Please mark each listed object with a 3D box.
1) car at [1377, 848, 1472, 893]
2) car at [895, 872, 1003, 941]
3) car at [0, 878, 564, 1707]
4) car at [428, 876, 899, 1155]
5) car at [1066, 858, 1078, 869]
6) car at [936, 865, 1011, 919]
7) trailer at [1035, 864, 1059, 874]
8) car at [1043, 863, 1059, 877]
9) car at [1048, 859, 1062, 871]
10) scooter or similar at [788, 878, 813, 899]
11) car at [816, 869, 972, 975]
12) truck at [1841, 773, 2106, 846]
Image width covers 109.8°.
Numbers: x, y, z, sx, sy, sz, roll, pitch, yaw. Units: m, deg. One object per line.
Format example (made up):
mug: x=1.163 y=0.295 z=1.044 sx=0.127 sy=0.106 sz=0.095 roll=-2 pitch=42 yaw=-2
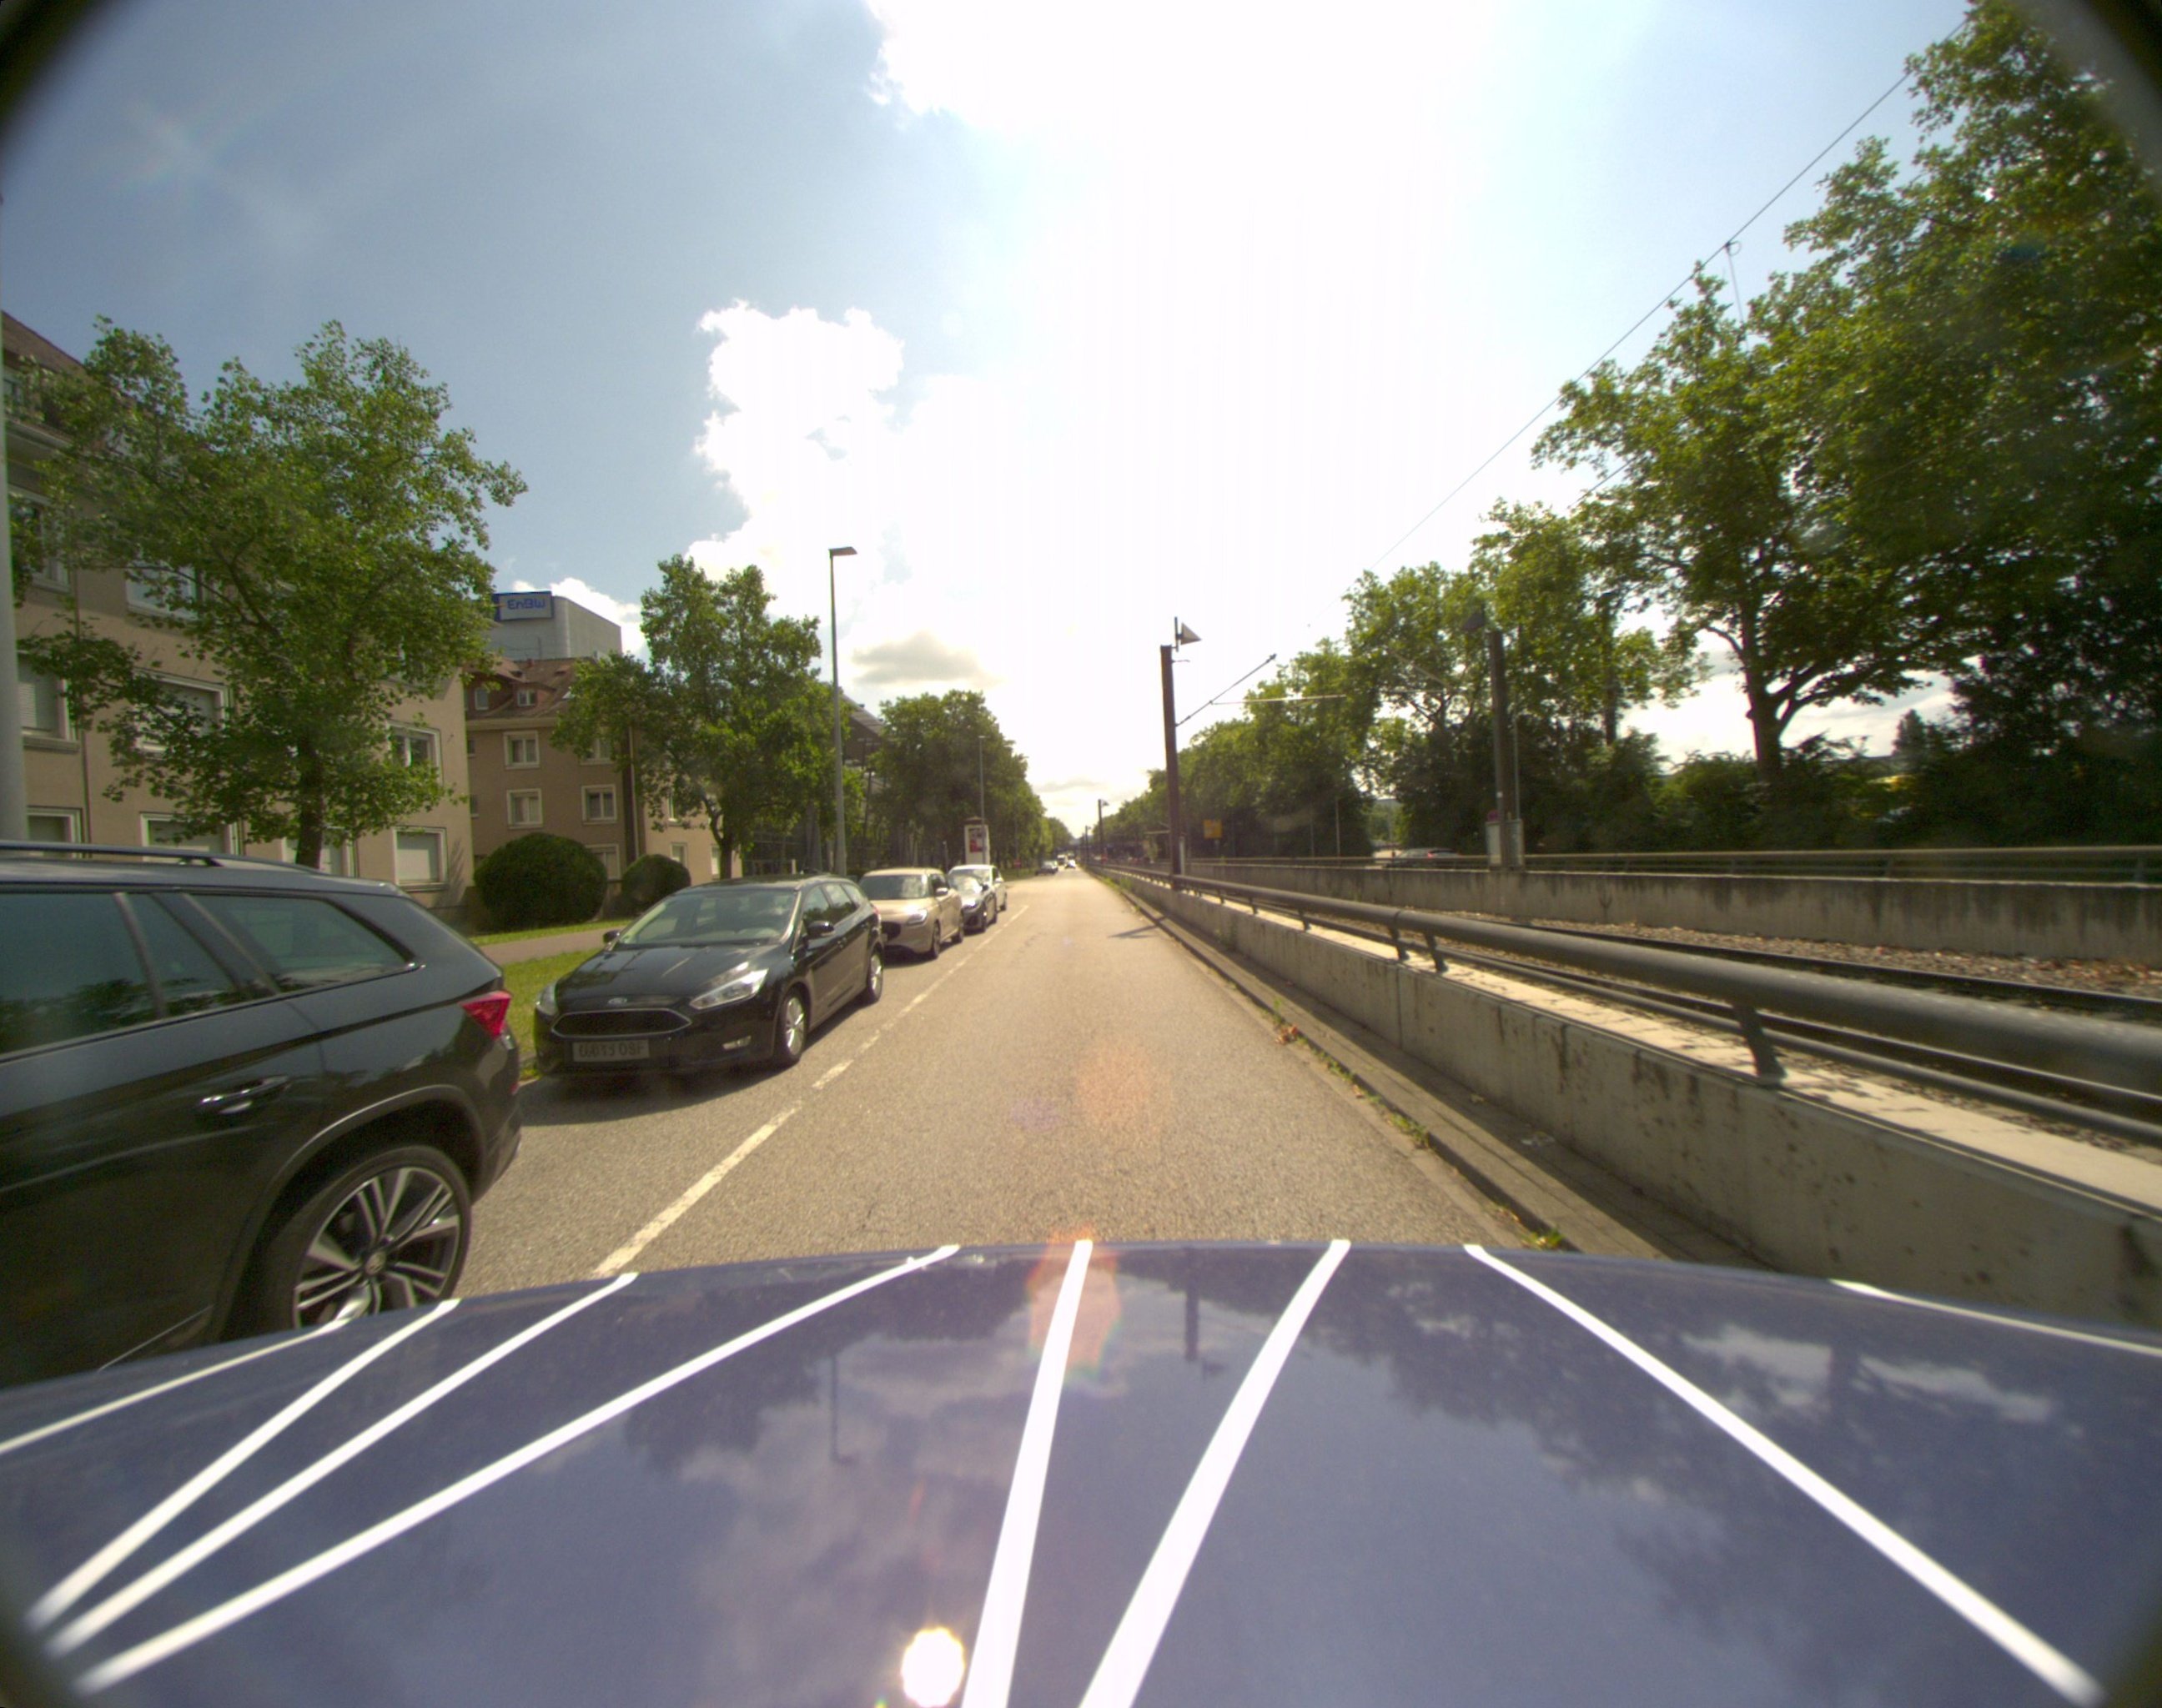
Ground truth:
car: x=13.093 y=0.612 z=29.248 sx=1.671 sy=1.587 sz=4.298 roll=-2 pitch=-1 yaw=-1
car: x=-3.010 y=1.162 z=18.234 sx=1.829 sy=1.304 sz=4.442 roll=-2 pitch=0 yaw=-1
car: x=-3.066 y=0.922 z=0.823 sx=1.821 sy=1.652 sz=4.670 roll=-1 pitch=-1 yaw=-1
car: x=-3.030 y=1.031 z=6.763 sx=1.648 sy=1.521 sz=4.442 roll=-1 pitch=0 yaw=1
car: x=-1.532 y=1.661 z=134.292 sx=1.998 sy=1.710 sz=4.304 roll=-1 pitch=0 yaw=0
car: x=-3.256 y=1.107 z=23.727 sx=1.711 sy=1.470 sz=3.790 roll=-2 pitch=0 yaw=1
trailer: x=-3.747 y=1.664 z=84.318 sx=2.303 sy=0.823 sz=6.820 roll=-2 pitch=0 yaw=0
car: x=-3.816 y=2.010 z=95.933 sx=1.809 sy=1.496 sz=3.734 roll=-3 pitch=0 yaw=0
car: x=-3.787 y=1.608 z=111.842 sx=1.809 sy=1.496 sz=3.734 roll=-3 pitch=0 yaw=0
scooter or similar: x=-18.275 y=2.242 z=49.505 sx=1.441 sy=1.295 sz=0.548 roll=-3 pitch=1 yaw=15
car: x=-3.102 y=1.061 z=13.399 sx=1.673 sy=1.506 sz=3.851 roll=-1 pitch=0 yaw=1
truck: x=54.425 y=-2.631 z=46.556 sx=12.819 sy=4.050 sz=2.748 roll=-1 pitch=0 yaw=1
